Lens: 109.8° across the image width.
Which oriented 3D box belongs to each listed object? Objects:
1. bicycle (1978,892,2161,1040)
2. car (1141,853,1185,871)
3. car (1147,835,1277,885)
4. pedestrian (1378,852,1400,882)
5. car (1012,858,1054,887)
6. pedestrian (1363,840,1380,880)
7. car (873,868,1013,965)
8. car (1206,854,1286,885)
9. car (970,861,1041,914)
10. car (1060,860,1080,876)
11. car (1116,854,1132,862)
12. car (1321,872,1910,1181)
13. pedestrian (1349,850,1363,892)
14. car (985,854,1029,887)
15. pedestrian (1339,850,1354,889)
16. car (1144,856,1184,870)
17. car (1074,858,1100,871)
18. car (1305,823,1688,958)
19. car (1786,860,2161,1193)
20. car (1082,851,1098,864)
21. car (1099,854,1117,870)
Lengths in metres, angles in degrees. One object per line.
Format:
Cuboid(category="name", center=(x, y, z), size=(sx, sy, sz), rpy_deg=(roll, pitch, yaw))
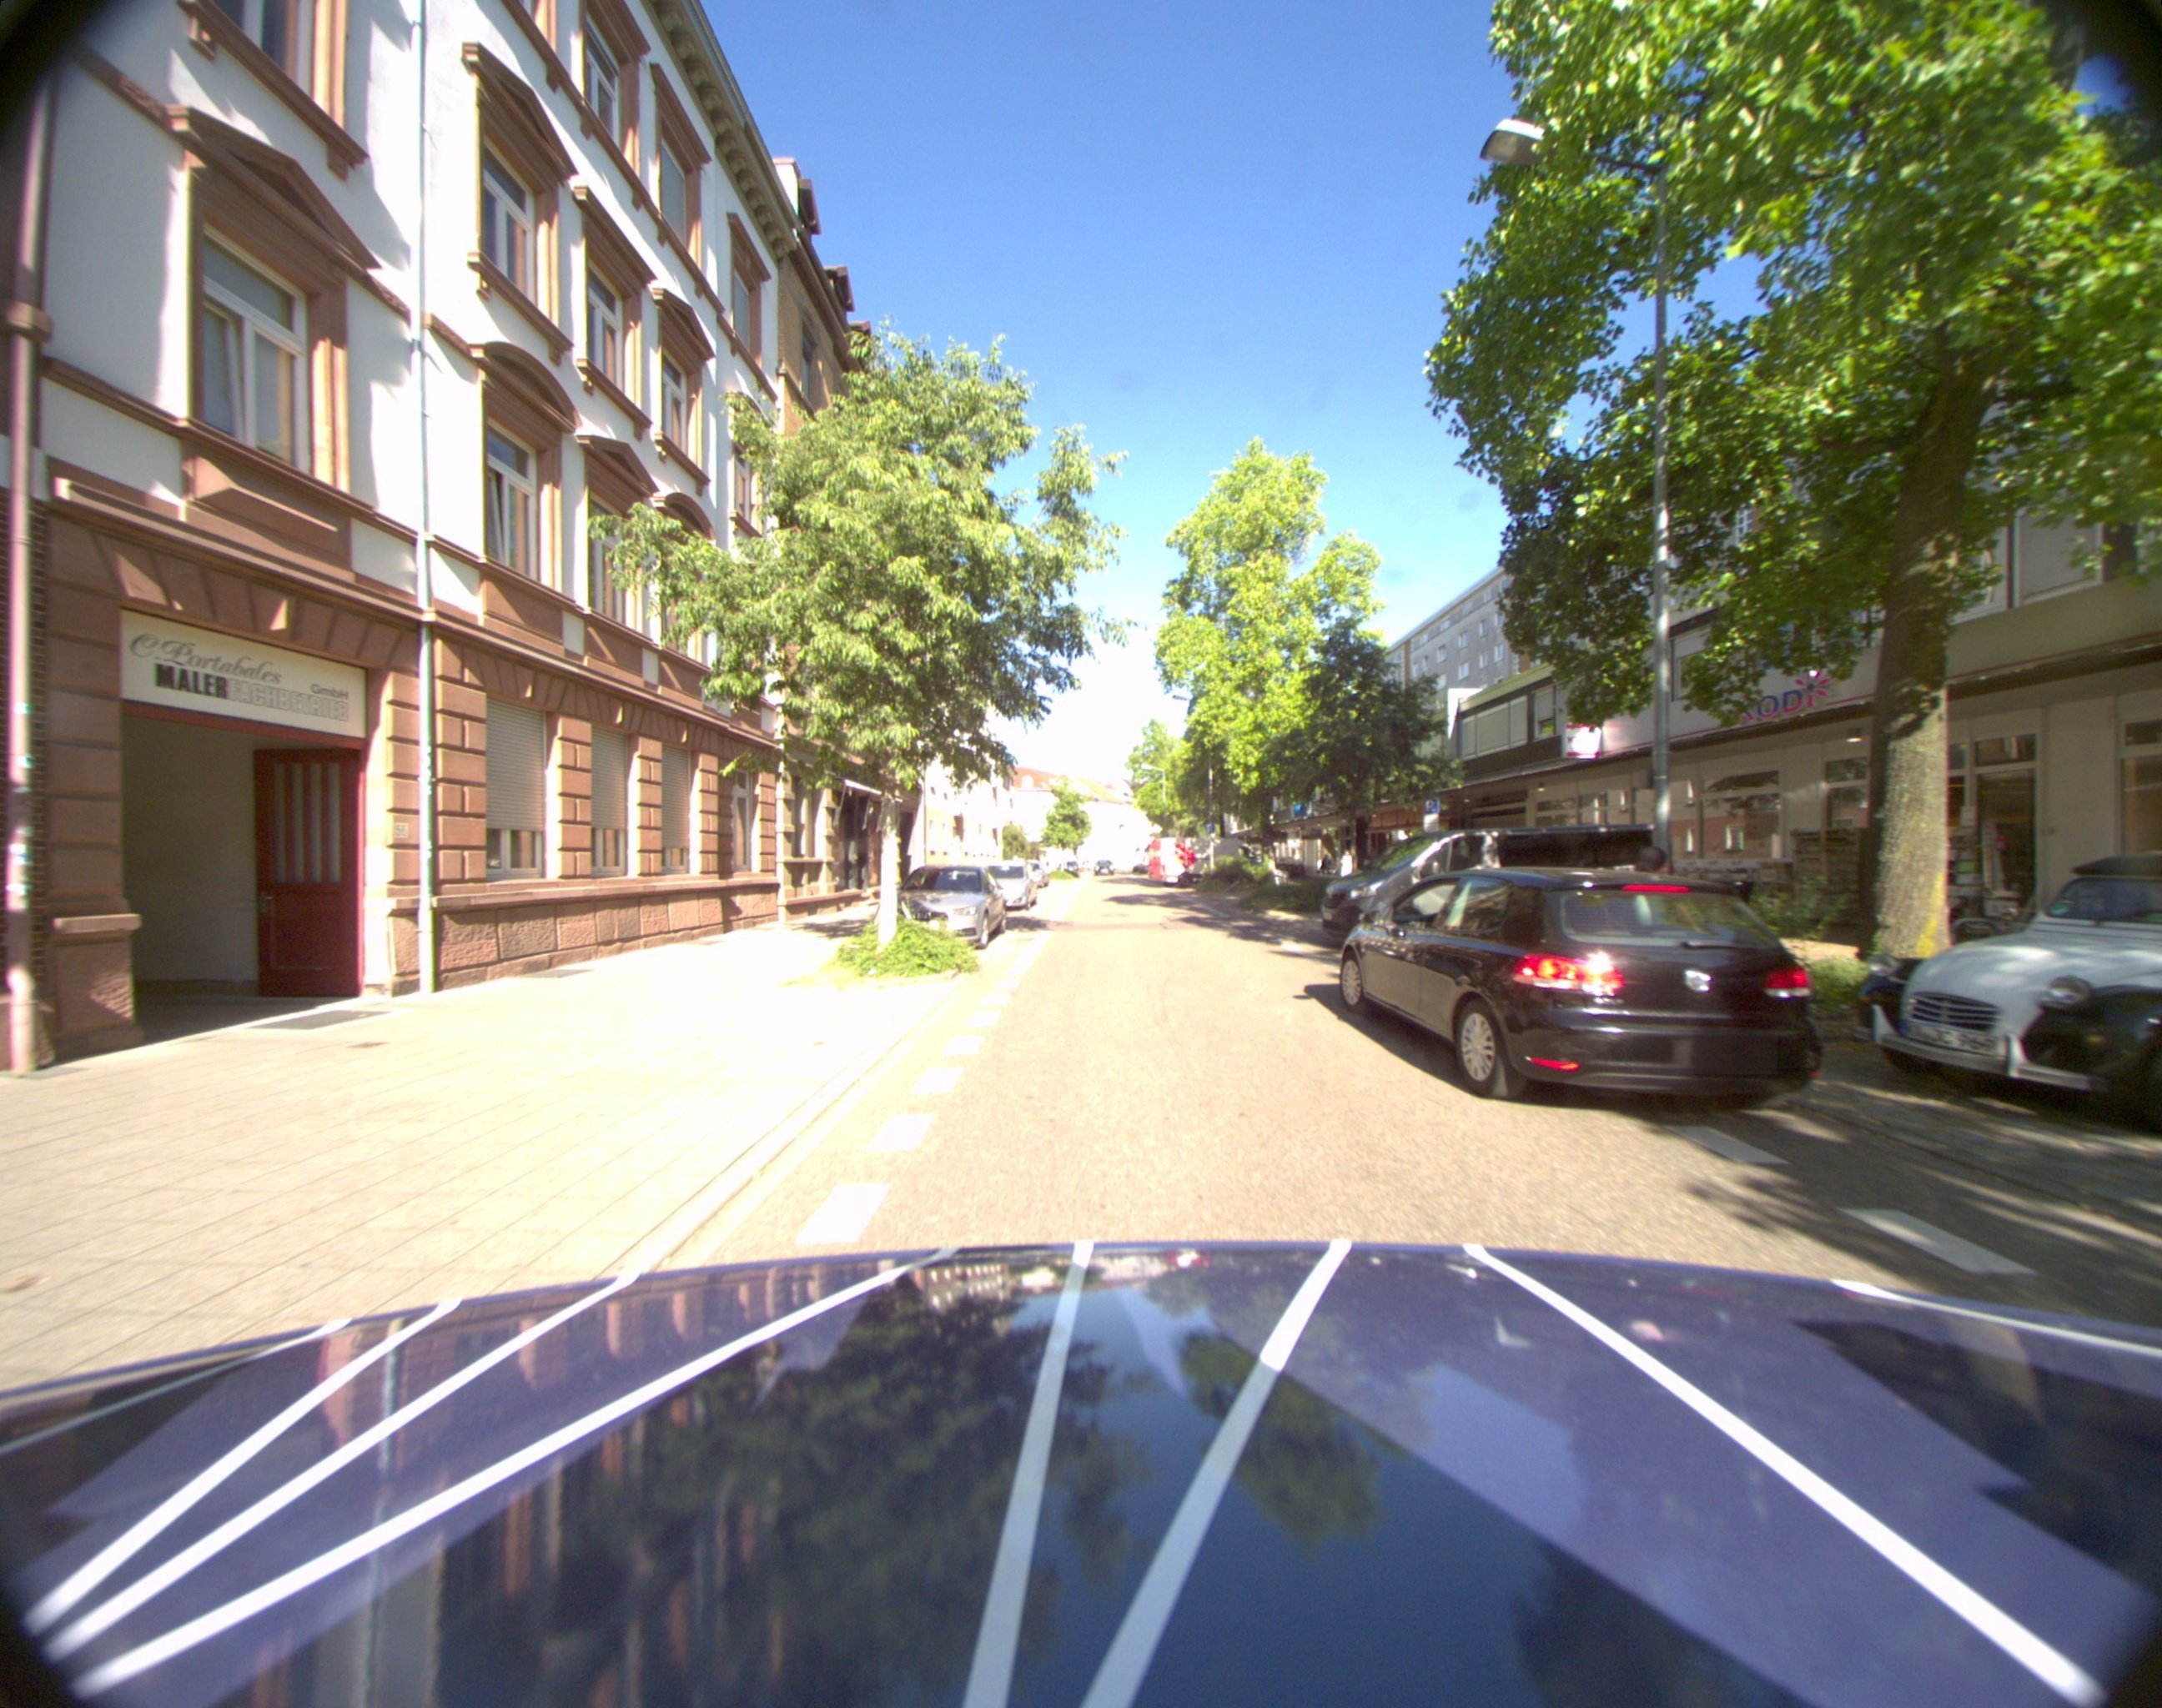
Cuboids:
Cuboid(category="bicycle", center=(9.189, 0.932, 6.418), size=(1.982, 1.177, 0.629), rpy_deg=(-2, 1, 27))
Cuboid(category="car", center=(9.771, 0.983, 90.581), size=(4.995, 1.958, 1.909), rpy_deg=(-2, 0, 0))
Cuboid(category="car", center=(6.930, 0.265, 40.047), size=(6.609, 2.459, 1.997), rpy_deg=(-1, 0, -20))
Cuboid(category="pedestrian", center=(13.881, 0.582, 34.297), size=(0.565, 1.333, 0.954), rpy_deg=(-1, 0, -1))
Cuboid(category="car", center=(-2.572, 0.975, 41.657), size=(1.790, 1.451, 4.517), rpy_deg=(1, 0, 3))
Cuboid(category="pedestrian", center=(13.653, 0.276, 35.743), size=(0.596, 1.892, 0.579), rpy_deg=(0, 1, -1))
Cuboid(category="car", center=(-2.357, 1.017, 14.034), size=(1.743, 1.443, 4.307), rpy_deg=(-1, 0, 1))
Cuboid(category="car", center=(8.172, 0.753, 37.869), size=(3.603, 1.412, 1.831), rpy_deg=(-1, 0, 1))
Cuboid(category="car", center=(-2.231, 0.970, 23.520), size=(1.743, 1.443, 4.000), rpy_deg=(-1, 0, 1))
Cuboid(category="car", center=(-1.031, 1.362, 74.412), size=(1.720, 1.445, 4.000), rpy_deg=(0, 1, 2))
Cuboid(category="car", center=(7.450, 0.728, 130.603), size=(1.632, 1.412, 3.300), rpy_deg=(0, 0, 24))
Cuboid(category="car", center=(3.320, 0.919, 5.822), size=(1.767, 1.430, 3.960), rpy_deg=(1, 0, 1))
Cuboid(category="pedestrian", center=(12.823, 0.771, 35.402), size=(0.598, 1.924, 0.588), rpy_deg=(0, 1, 23))
Cuboid(category="car", center=(-3.561, 0.769, 37.111), size=(1.713, 1.471, 3.710), rpy_deg=(-1, 0, 1))
Cuboid(category="pedestrian", center=(11.592, 0.665, 33.152), size=(0.586, 1.701, 0.601), rpy_deg=(0, 1, 16))
Cuboid(category="car", center=(8.829, 0.926, 80.758), size=(3.997, 1.390, 1.759), rpy_deg=(-1, 0, -1))
Cuboid(category="car", center=(0.981, 1.582, 115.639), size=(1.908, 1.924, 4.818), rpy_deg=(-1, 0, 28))
Cuboid(category="car", center=(6.739, 0.571, 12.799), size=(5.305, 1.962, 2.015), rpy_deg=(-1, 0, 1))
Cuboid(category="car", center=(6.880, 0.851, 4.685), size=(3.608, 1.543, 1.683), rpy_deg=(-2, 1, -3))
Cuboid(category="car", center=(1.116, 0.461, 91.619), size=(1.861, 1.499, 4.000), rpy_deg=(-1, 0, 1))
Cuboid(category="car", center=(2.538, 0.748, 72.917), size=(1.612, 1.444, 3.295), rpy_deg=(-1, 0, 1))
